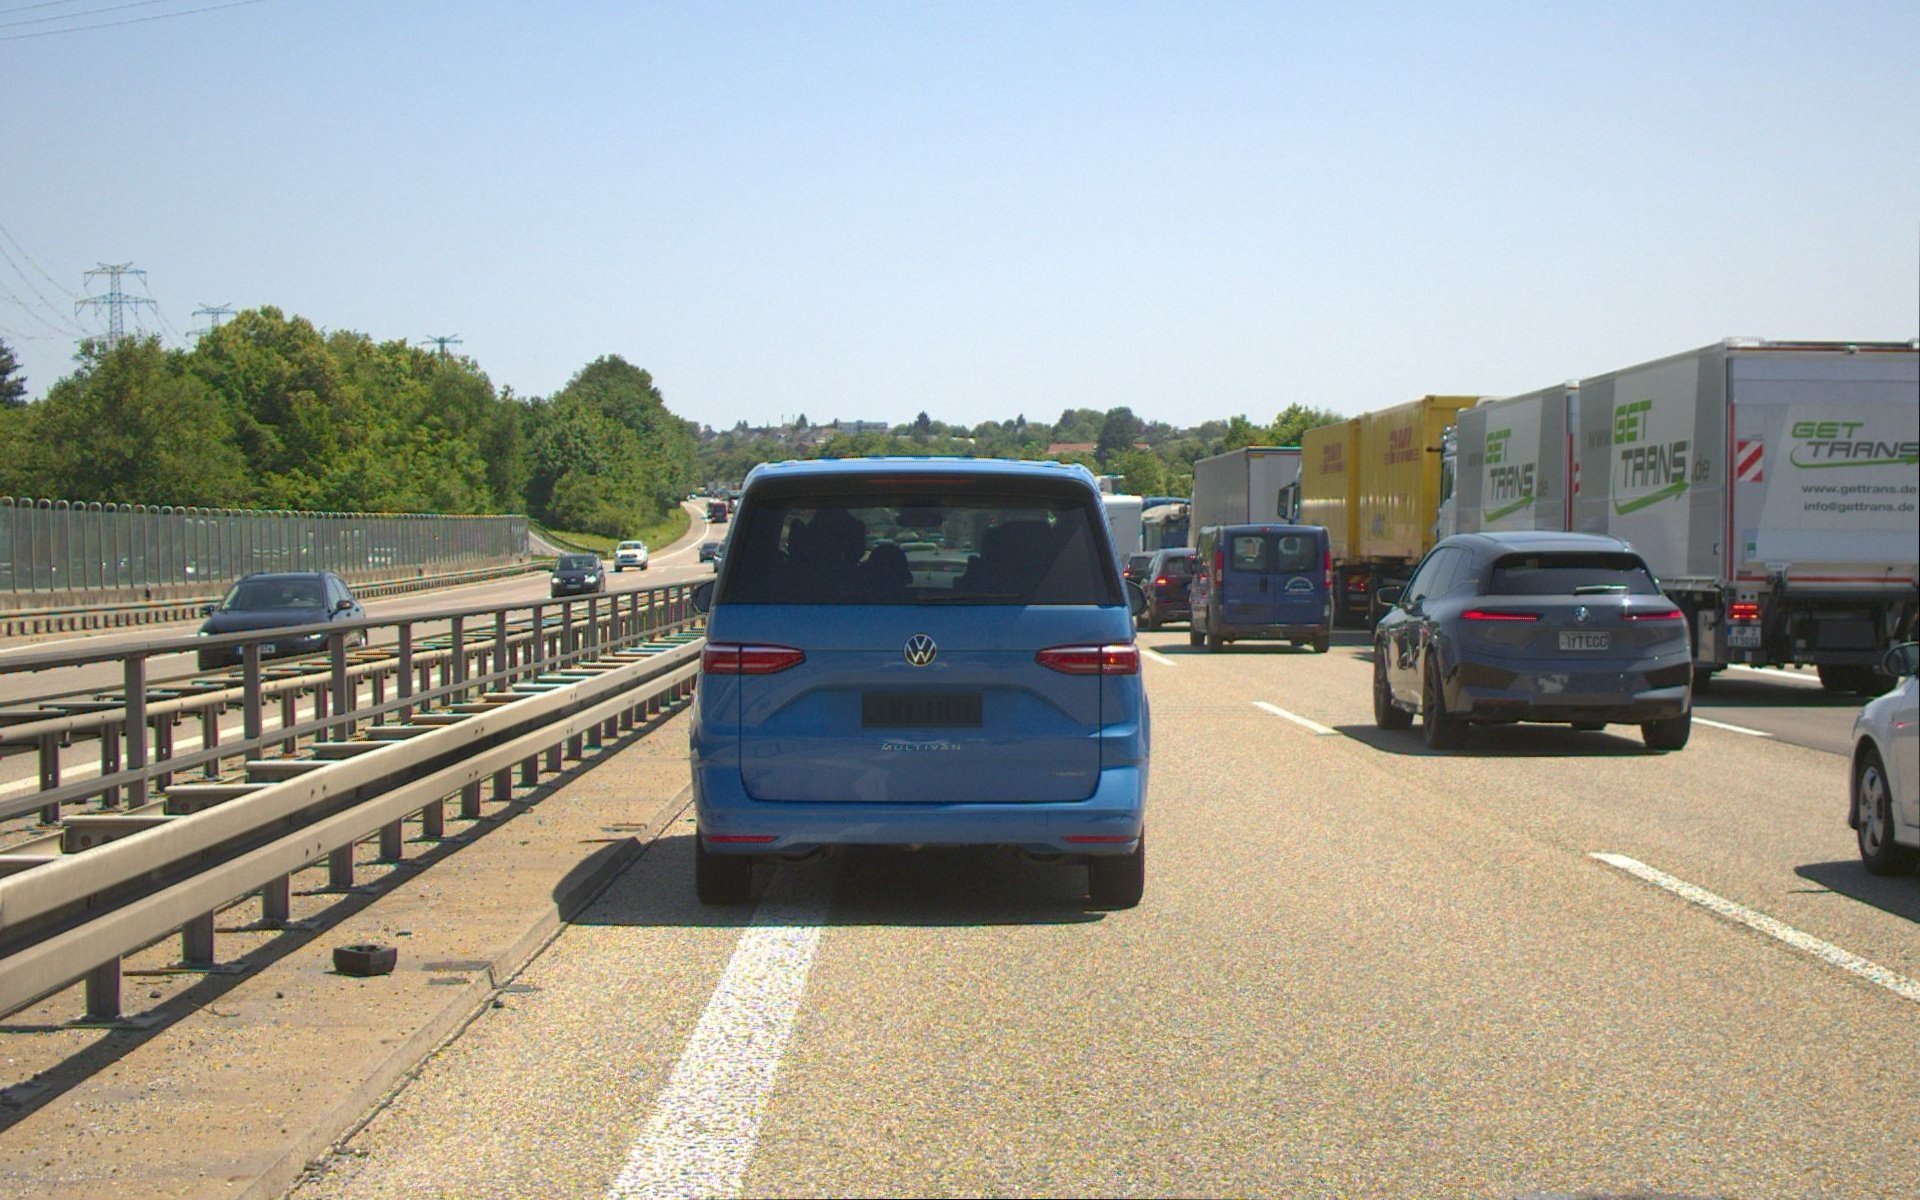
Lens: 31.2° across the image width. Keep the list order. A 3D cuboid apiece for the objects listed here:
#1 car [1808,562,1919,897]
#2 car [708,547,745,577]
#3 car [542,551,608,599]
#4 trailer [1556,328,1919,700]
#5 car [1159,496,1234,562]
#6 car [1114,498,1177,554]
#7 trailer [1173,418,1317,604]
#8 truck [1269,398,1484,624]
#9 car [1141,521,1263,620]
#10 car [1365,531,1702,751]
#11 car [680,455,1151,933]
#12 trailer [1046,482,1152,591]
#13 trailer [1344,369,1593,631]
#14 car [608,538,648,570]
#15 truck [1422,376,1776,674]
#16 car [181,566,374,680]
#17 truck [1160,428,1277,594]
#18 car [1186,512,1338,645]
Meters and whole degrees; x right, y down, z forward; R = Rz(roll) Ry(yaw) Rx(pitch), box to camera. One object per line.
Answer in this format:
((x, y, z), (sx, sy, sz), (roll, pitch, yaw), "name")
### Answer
((5.084, 0.574, 14.729), (1.788, 1.450, 4.293), (0, 1, -1), "car")
((-12.910, -2.105, 190.109), (1.805, 1.621, 4.478), (0, 1, -1), "car")
((-14.087, -0.929, 126.006), (1.993, 1.666, 4.187), (-3, 1, -1), "car")
((8.728, -0.927, 38.134), (2.698, 3.687, 8.015), (0, 1, -1), "trailer")
((7.362, -2.195, 107.419), (1.993, 2.007, 4.000), (1, 1, 0), "car")
((6.745, -2.690, 125.338), (1.993, 2.007, 4.461), (-1, 1, 0), "car")
((7.300, -2.273, 89.518), (2.637, 4.501, 11.302), (1, 1, -1), "trailer")
((8.357, -1.746, 70.382), (2.836, 4.228, 11.011), (1, 1, -1), "truck")
((4.541, -0.566, 65.041), (1.993, 1.809, 4.000), (0, 1, 0), "car")
((4.526, 0.267, 27.760), (1.962, 1.639, 4.293), (0, 1, -1), "car")
((-0.192, 0.343, 15.510), (1.820, 1.851, 4.075), (1, 1, 0), "car")
((3.990, -1.809, 100.552), (2.569, 2.980, 10.663), (1, 1, 0), "trailer")
((8.763, -1.667, 60.348), (2.864, 4.224, 9.012), (1, 1, -1), "trailer")
((-20.533, -2.862, 212.656), (1.993, 1.878, 5.256), (-3, 1, -1), "car")
((8.567, -1.015, 47.624), (2.656, 3.635, 11.011), (0, 1, -1), "truck")
((-9.232, 0.282, 46.793), (1.767, 1.414, 4.266), (-1, 1, 0), "car")
((7.200, -2.445, 96.561), (2.667, 4.469, 6.850), (1, 1, 0), "truck")
((4.674, -0.358, 53.740), (1.962, 1.986, 4.293), (0, 1, -1), "car")
